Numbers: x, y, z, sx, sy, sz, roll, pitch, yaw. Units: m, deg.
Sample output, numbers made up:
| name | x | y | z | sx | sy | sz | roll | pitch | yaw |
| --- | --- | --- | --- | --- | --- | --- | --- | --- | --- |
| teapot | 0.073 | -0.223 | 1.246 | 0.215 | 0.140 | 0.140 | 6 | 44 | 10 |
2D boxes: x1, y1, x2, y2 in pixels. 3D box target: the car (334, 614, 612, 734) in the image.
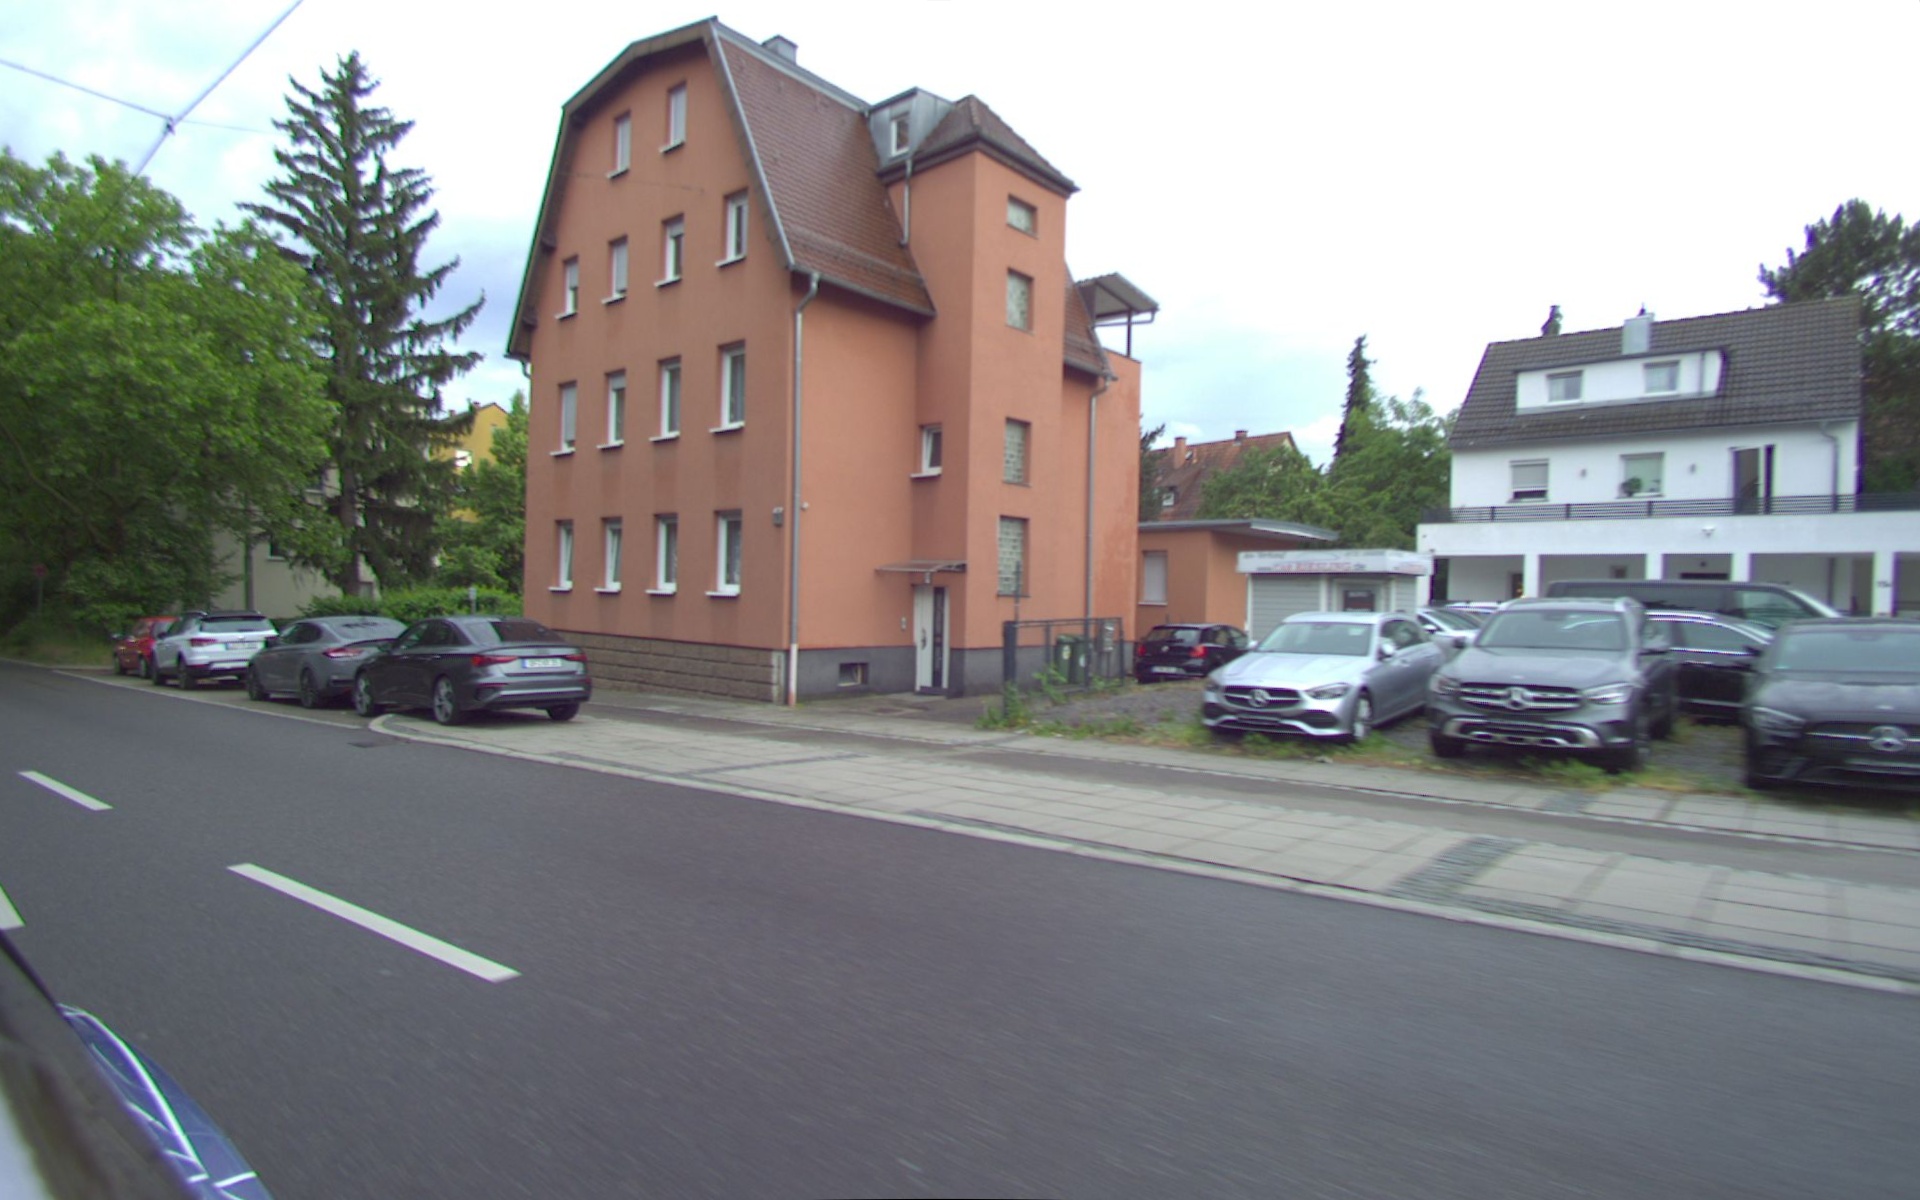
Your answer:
| name | x | y | z | sx | sy | sz | roll | pitch | yaw |
| --- | --- | --- | --- | --- | --- | --- | --- | --- | --- |
| car | -6.792 | 0.948 | 13.948 | 4.193 | 1.421 | 1.767 | -1 | -3 | 38 |

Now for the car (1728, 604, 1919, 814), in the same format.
| name | x | y | z | sx | sy | sz | roll | pitch | yaw |
| --- | --- | --- | --- | --- | --- | --- | --- | --- | --- |
| car | 8.438 | 0.828 | 9.248 | 1.895 | 1.475 | 4.082 | -1 | 0 | 42 |

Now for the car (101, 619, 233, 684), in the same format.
| name | x | y | z | sx | sy | sz | roll | pitch | yaw |
| --- | --- | --- | --- | --- | --- | --- | --- | --- | --- |
| car | -19.530 | 1.212 | 24.860 | 4.196 | 1.444 | 1.793 | -1 | -2 | 41 |

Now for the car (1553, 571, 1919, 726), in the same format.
| name | x | y | z | sx | sy | sz | roll | pitch | yaw |
| --- | --- | --- | --- | --- | --- | --- | --- | --- | --- |
| car | 11.832 | 0.688 | 15.192 | 4.762 | 2.029 | 1.973 | -1 | -2 | 41 |

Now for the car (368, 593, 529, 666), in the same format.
| name | x | y | z | sx | sy | sz | roll | pitch | yaw |
| --- | --- | --- | --- | --- | --- | --- | --- | --- | --- |
| car | -15.372 | 0.834 | 30.508 | 3.938 | 2.029 | 2.003 | -1 | 0 | -42 |

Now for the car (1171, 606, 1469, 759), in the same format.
| name | x | y | z | sx | sy | sz | roll | pitch | yaw |
| --- | --- | --- | --- | --- | --- | --- | --- | --- | --- |
| car | 4.588 | 0.867 | 12.546 | 2.000 | 1.444 | 4.117 | -1 | 0 | 43 |

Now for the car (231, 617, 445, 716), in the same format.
| name | x | y | z | sx | sy | sz | roll | pitch | yaw |
| --- | --- | --- | --- | --- | --- | --- | --- | --- | --- |
| car | -10.515 | 1.026 | 17.001 | 4.194 | 1.463 | 1.794 | -1 | -2 | 39 |

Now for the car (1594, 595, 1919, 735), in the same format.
| name | x | y | z | sx | sy | sz | roll | pitch | yaw |
| --- | --- | --- | --- | --- | --- | --- | --- | --- | --- |
| car | 10.534 | 0.768 | 12.833 | 3.998 | 1.574 | 1.762 | -1 | -2 | 41 |

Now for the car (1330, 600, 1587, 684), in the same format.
| name | x | y | z | sx | sy | sz | roll | pitch | yaw |
| --- | --- | --- | --- | --- | --- | --- | --- | --- | --- |
| car | 9.792 | 0.782 | 20.060 | 4.176 | 1.444 | 1.972 | -1 | 0 | 44 |

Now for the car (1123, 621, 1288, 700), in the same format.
| name | x | y | z | sx | sy | sz | roll | pitch | yaw |
| --- | --- | --- | --- | --- | --- | --- | --- | --- | --- |
| car | 5.151 | 1.172 | 20.928 | 1.802 | 1.444 | 3.840 | -1 | -2 | 40 |

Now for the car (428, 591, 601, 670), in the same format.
| name | x | y | z | sx | sy | sz | roll | pitch | yaw |
| --- | --- | --- | --- | --- | --- | --- | --- | --- | --- |
| car | -12.337 | 0.786 | 28.189 | 1.998 | 2.029 | 3.947 | -1 | 0 | 39 |

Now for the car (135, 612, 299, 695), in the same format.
| name | x | y | z | sx | sy | sz | roll | pitch | yaw |
| --- | --- | --- | --- | --- | --- | --- | --- | --- | --- |
| car | -15.474 | 1.091 | 21.006 | 4.196 | 1.558 | 1.793 | -1 | -5 | 41 |

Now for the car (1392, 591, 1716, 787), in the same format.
| name | x | y | z | sx | sy | sz | roll | pitch | yaw |
| --- | --- | --- | --- | --- | --- | --- | --- | --- | --- |
| car | 6.709 | 0.777 | 11.179 | 2.153 | 1.620 | 4.482 | -1 | 0 | 43 |
